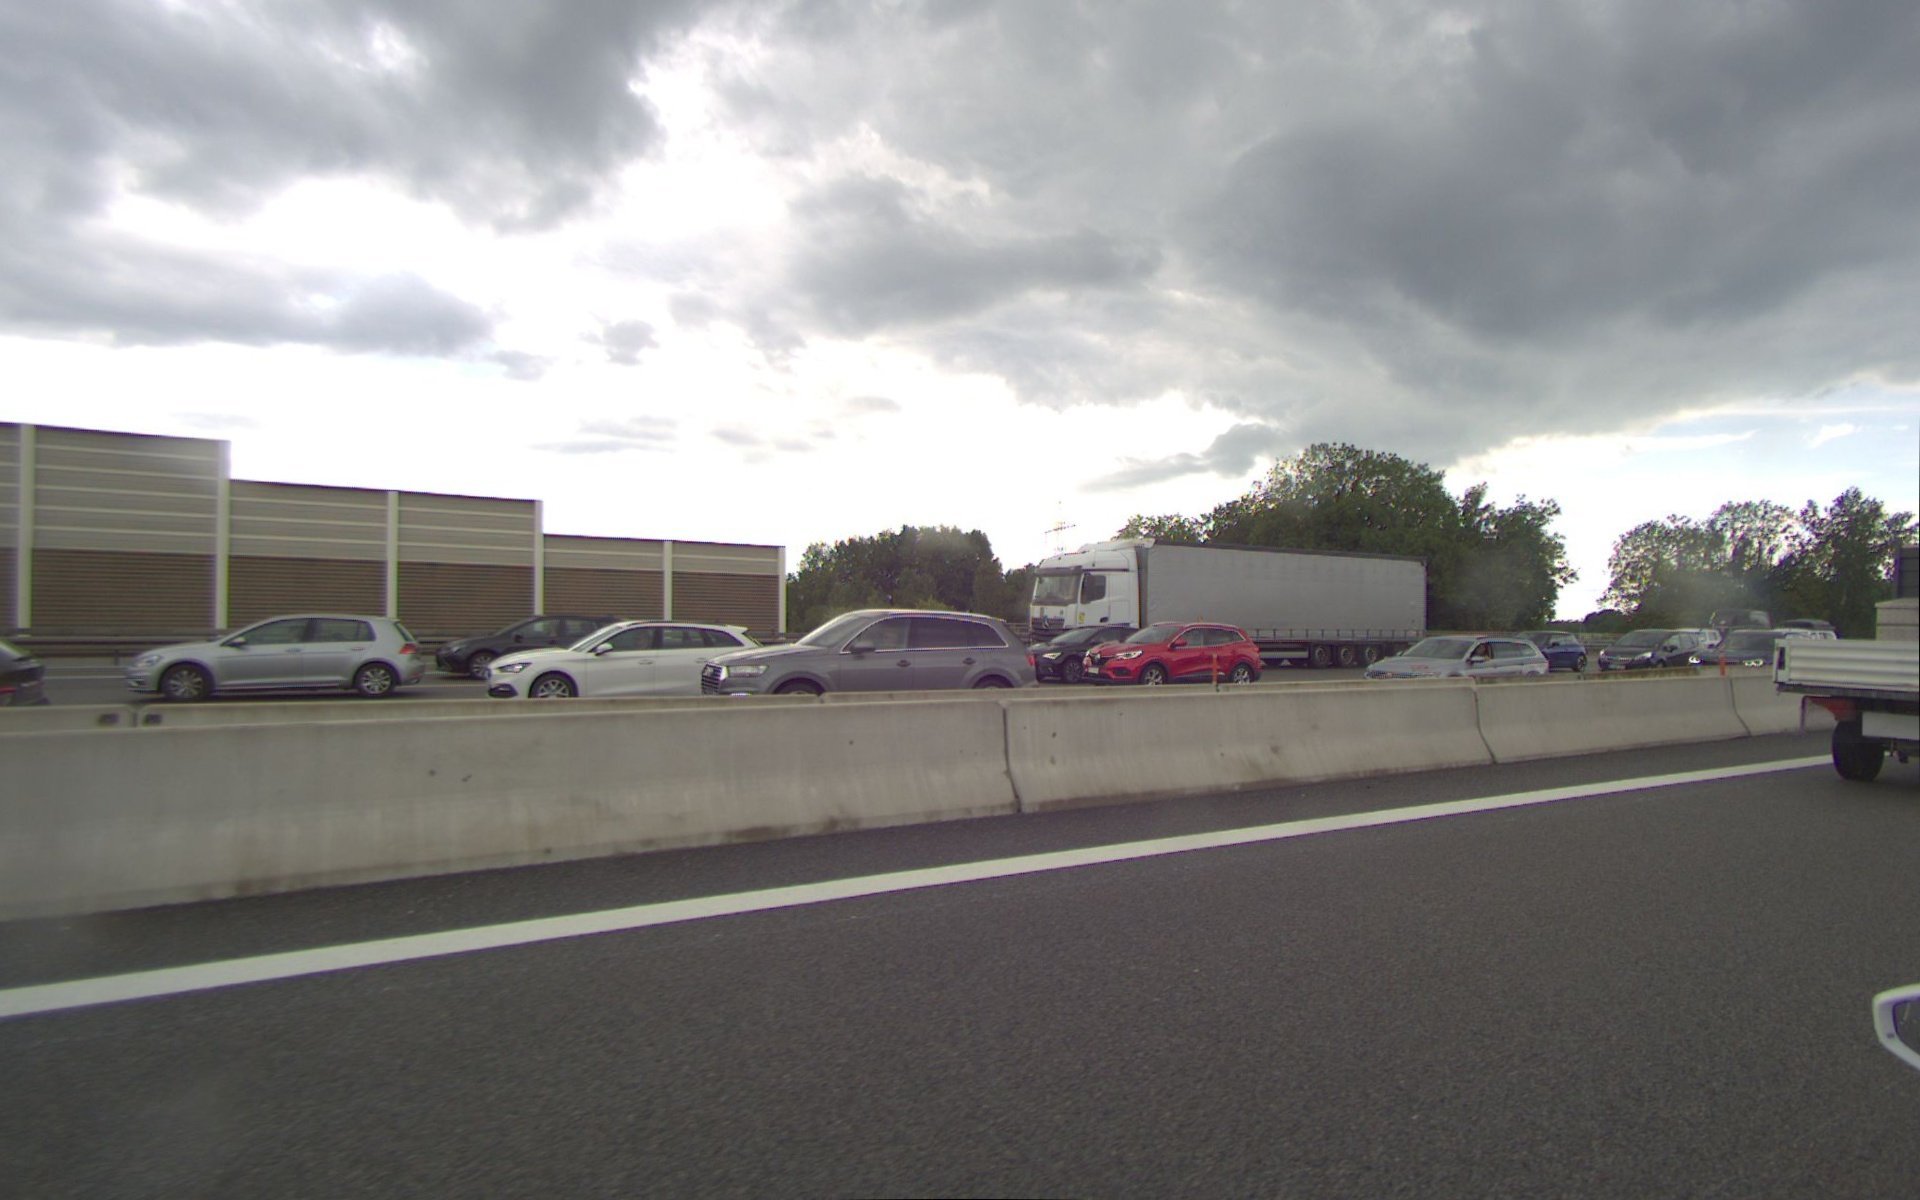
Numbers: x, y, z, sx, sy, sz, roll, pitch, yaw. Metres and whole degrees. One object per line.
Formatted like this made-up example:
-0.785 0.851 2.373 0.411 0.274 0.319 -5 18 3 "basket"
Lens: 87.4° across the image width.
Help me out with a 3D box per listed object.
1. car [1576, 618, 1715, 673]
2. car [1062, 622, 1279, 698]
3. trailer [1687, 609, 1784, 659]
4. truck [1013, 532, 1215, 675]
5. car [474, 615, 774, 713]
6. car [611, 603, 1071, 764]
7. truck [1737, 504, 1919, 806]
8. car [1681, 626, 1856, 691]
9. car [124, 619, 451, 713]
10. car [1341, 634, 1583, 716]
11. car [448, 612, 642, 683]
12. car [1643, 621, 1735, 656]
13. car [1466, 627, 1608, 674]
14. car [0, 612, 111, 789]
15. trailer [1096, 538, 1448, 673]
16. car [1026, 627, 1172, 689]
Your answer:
22.627 1.478 33.142 4.465 1.667 2.051 2 -1 -30 "car"
4.815 1.315 22.818 4.663 1.555 2.051 2 -1 -30 "car"
40.419 1.757 52.311 5.164 2.517 2.191 1 -1 -29 "trailer"
4.843 0.151 31.498 5.658 4.088 2.958 1 -1 -30 "truck"
-5.597 1.021 16.849 4.469 1.434 2.051 2 -1 -30 "car"
-1.553 1.076 14.397 6.252 1.905 2.051 2 -1 -30 "car"
10.810 0.494 10.185 7.067 2.472 2.295 1 0 -31 "truck"
22.737 1.604 28.216 5.316 1.667 2.051 2 -1 -30 "car"
-11.434 1.097 17.512 4.469 1.434 2.051 2 -1 -30 "car"
10.943 1.559 21.789 5.405 1.555 2.051 2 -1 -30 "car"
-9.583 1.054 23.250 3.953 1.472 1.792 1 0 -30 "car"
36.211 1.922 49.896 4.465 1.667 2.051 2 -1 -30 "car"
21.047 1.820 36.597 5.405 1.555 2.051 2 -1 -30 "car"
-10.844 0.852 8.721 4.938 1.555 2.051 2 -1 -30 "car"
11.360 0.295 35.283 14.281 4.085 2.918 1 -1 -30 "trailer"
3.612 1.477 25.972 3.547 1.474 1.529 1 -1 -30 "car"
